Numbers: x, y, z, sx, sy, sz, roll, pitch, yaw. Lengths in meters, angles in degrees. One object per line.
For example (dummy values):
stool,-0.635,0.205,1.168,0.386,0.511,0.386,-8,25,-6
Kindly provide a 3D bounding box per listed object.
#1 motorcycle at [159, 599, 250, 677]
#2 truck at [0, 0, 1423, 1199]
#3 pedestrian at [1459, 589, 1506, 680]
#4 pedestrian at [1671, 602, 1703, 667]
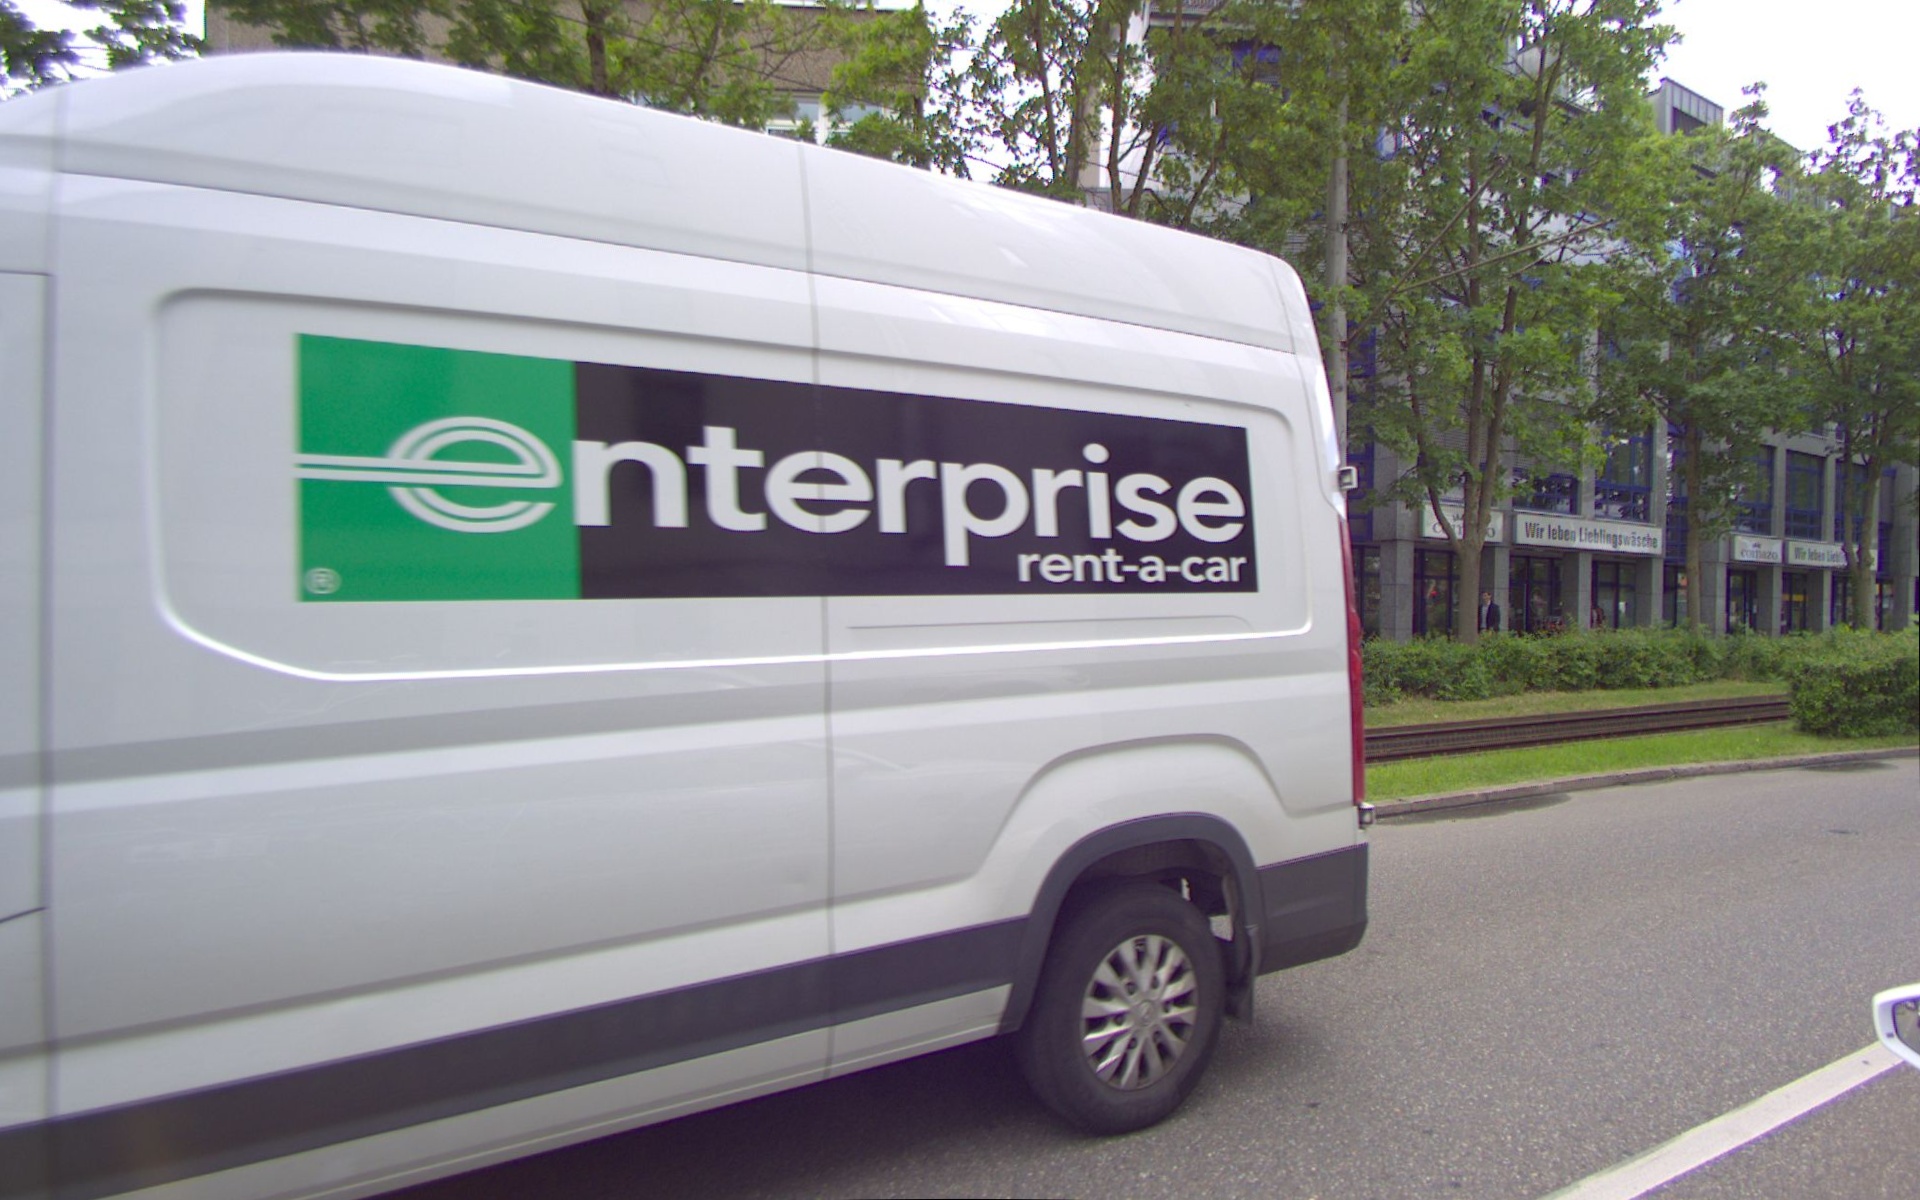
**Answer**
motorcycle,-12.456,0.609,16.623,0.559,1.215,1.878,1,-1,-16
truck,-1.465,0.092,2.962,5.724,2.650,2.156,1,0,-29
pedestrian,11.277,0.745,21.673,0.614,1.934,0.672,1,-2,-29
pedestrian,23.386,1.101,32.310,0.564,2.040,0.678,1,-1,-30
